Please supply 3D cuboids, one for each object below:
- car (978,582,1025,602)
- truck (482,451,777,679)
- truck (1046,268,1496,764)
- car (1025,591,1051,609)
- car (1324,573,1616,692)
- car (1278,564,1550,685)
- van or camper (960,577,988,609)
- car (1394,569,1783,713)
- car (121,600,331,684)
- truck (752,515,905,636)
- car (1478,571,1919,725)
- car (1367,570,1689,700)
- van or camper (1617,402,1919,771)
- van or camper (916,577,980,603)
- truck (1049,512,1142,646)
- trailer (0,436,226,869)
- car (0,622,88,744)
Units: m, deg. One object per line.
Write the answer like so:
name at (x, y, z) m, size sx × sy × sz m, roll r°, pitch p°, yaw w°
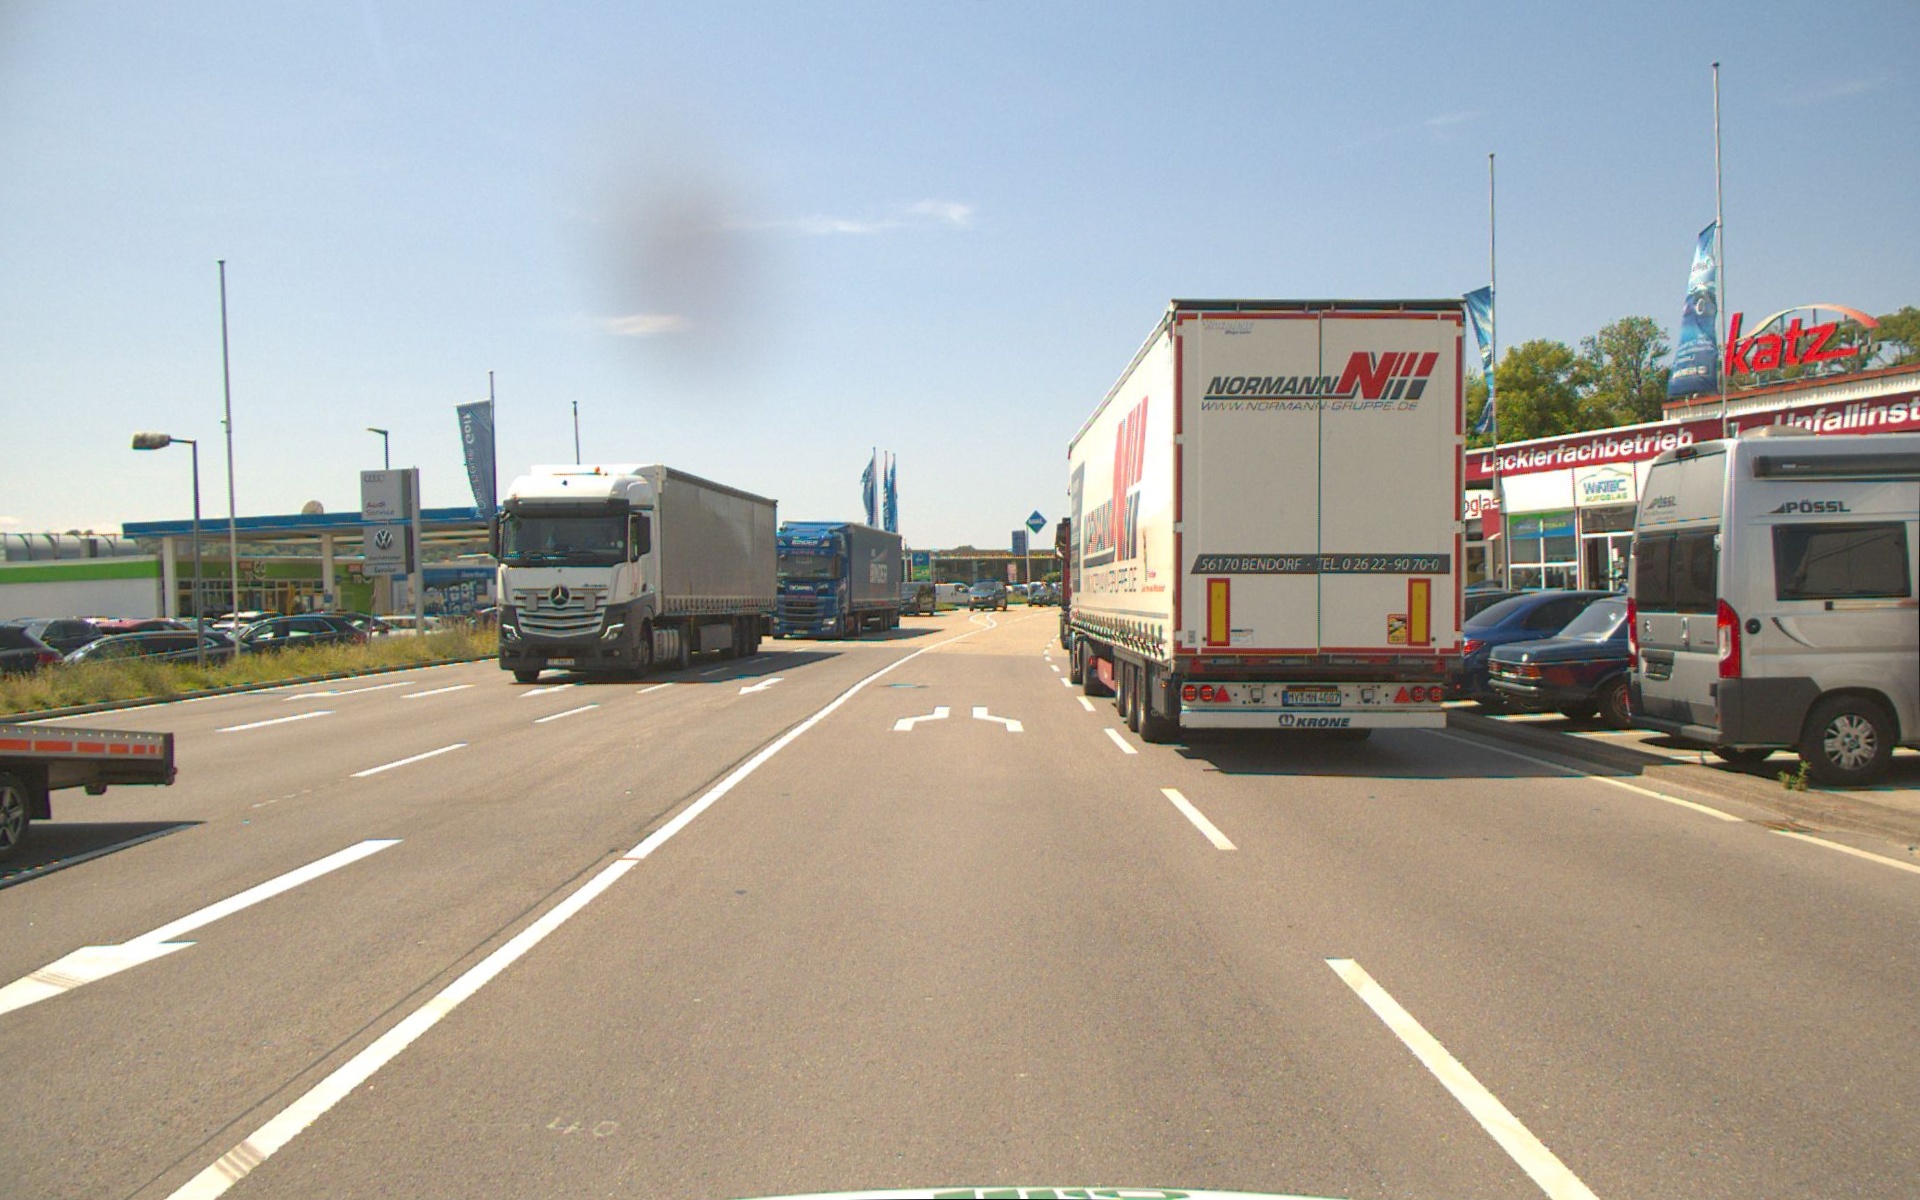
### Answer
car at (3.807, -0.725, 152.210) m, size 3.918 × 1.780 × 1.928 m, roll 0°, pitch -1°, yaw 35°
truck at (-6.665, -0.563, 37.008) m, size 2.732 × 3.957 × 16.486 m, roll 0°, pitch 0°, yaw 2°
truck at (3.078, -0.718, 22.737) m, size 2.912 × 4.165 × 17.634 m, roll 0°, pitch 0°, yaw 0°
car at (5.851, 0.008, 124.790) m, size 1.810 × 1.293 × 4.177 m, roll -2°, pitch 0°, yaw 1°
car at (8.097, 0.505, 26.482) m, size 3.934 × 1.507 × 1.976 m, roll -5°, pitch 0°, yaw -6°
car at (7.888, 0.421, 28.949) m, size 3.940 × 1.703 × 2.195 m, roll -5°, pitch 0°, yaw -11°
van or camper at (0.960, -0.486, 112.766) m, size 1.798 × 2.175 × 5.344 m, roll 0°, pitch 0°, yaw 2°
car at (8.097, 0.514, 21.631) m, size 4.178 × 1.437 × 2.163 m, roll -5°, pitch 0°, yaw 0°
car at (-16.255, 0.903, 36.755) m, size 4.116 × 1.613 × 1.768 m, roll -3°, pitch 0°, yaw -25°
truck at (-4.633, -0.768, 62.955) m, size 2.784 × 3.957 × 17.016 m, roll 0°, pitch 0°, yaw 6°
car at (8.413, 0.518, 18.864) m, size 4.421 × 1.545 × 1.783 m, roll -2°, pitch 0°, yaw 1°
car at (8.282, 0.493, 24.321) m, size 3.934 × 1.507 × 1.976 m, roll -5°, pitch 0°, yaw -6°
van or camper at (8.573, -0.146, 13.675) m, size 5.362 × 2.777 × 2.233 m, roll -1°, pitch 0°, yaw 1°
van or camper at (-0.916, -0.776, 129.844) m, size 4.744 × 1.938 × 1.906 m, roll 0°, pitch 0°, yaw 8°
truck at (4.363, -0.660, 55.597) m, size 2.592 × 3.872 × 13.365 m, roll -2°, pitch 0°, yaw 3°
trailer at (-6.517, 0.345, 8.134) m, size 2.378 × 2.379 × 6.899 m, roll -3°, pitch 0°, yaw 2°
car at (-15.042, 1.260, 24.307) m, size 3.818 × 1.716 × 1.781 m, roll -2°, pitch 0°, yaw -32°
